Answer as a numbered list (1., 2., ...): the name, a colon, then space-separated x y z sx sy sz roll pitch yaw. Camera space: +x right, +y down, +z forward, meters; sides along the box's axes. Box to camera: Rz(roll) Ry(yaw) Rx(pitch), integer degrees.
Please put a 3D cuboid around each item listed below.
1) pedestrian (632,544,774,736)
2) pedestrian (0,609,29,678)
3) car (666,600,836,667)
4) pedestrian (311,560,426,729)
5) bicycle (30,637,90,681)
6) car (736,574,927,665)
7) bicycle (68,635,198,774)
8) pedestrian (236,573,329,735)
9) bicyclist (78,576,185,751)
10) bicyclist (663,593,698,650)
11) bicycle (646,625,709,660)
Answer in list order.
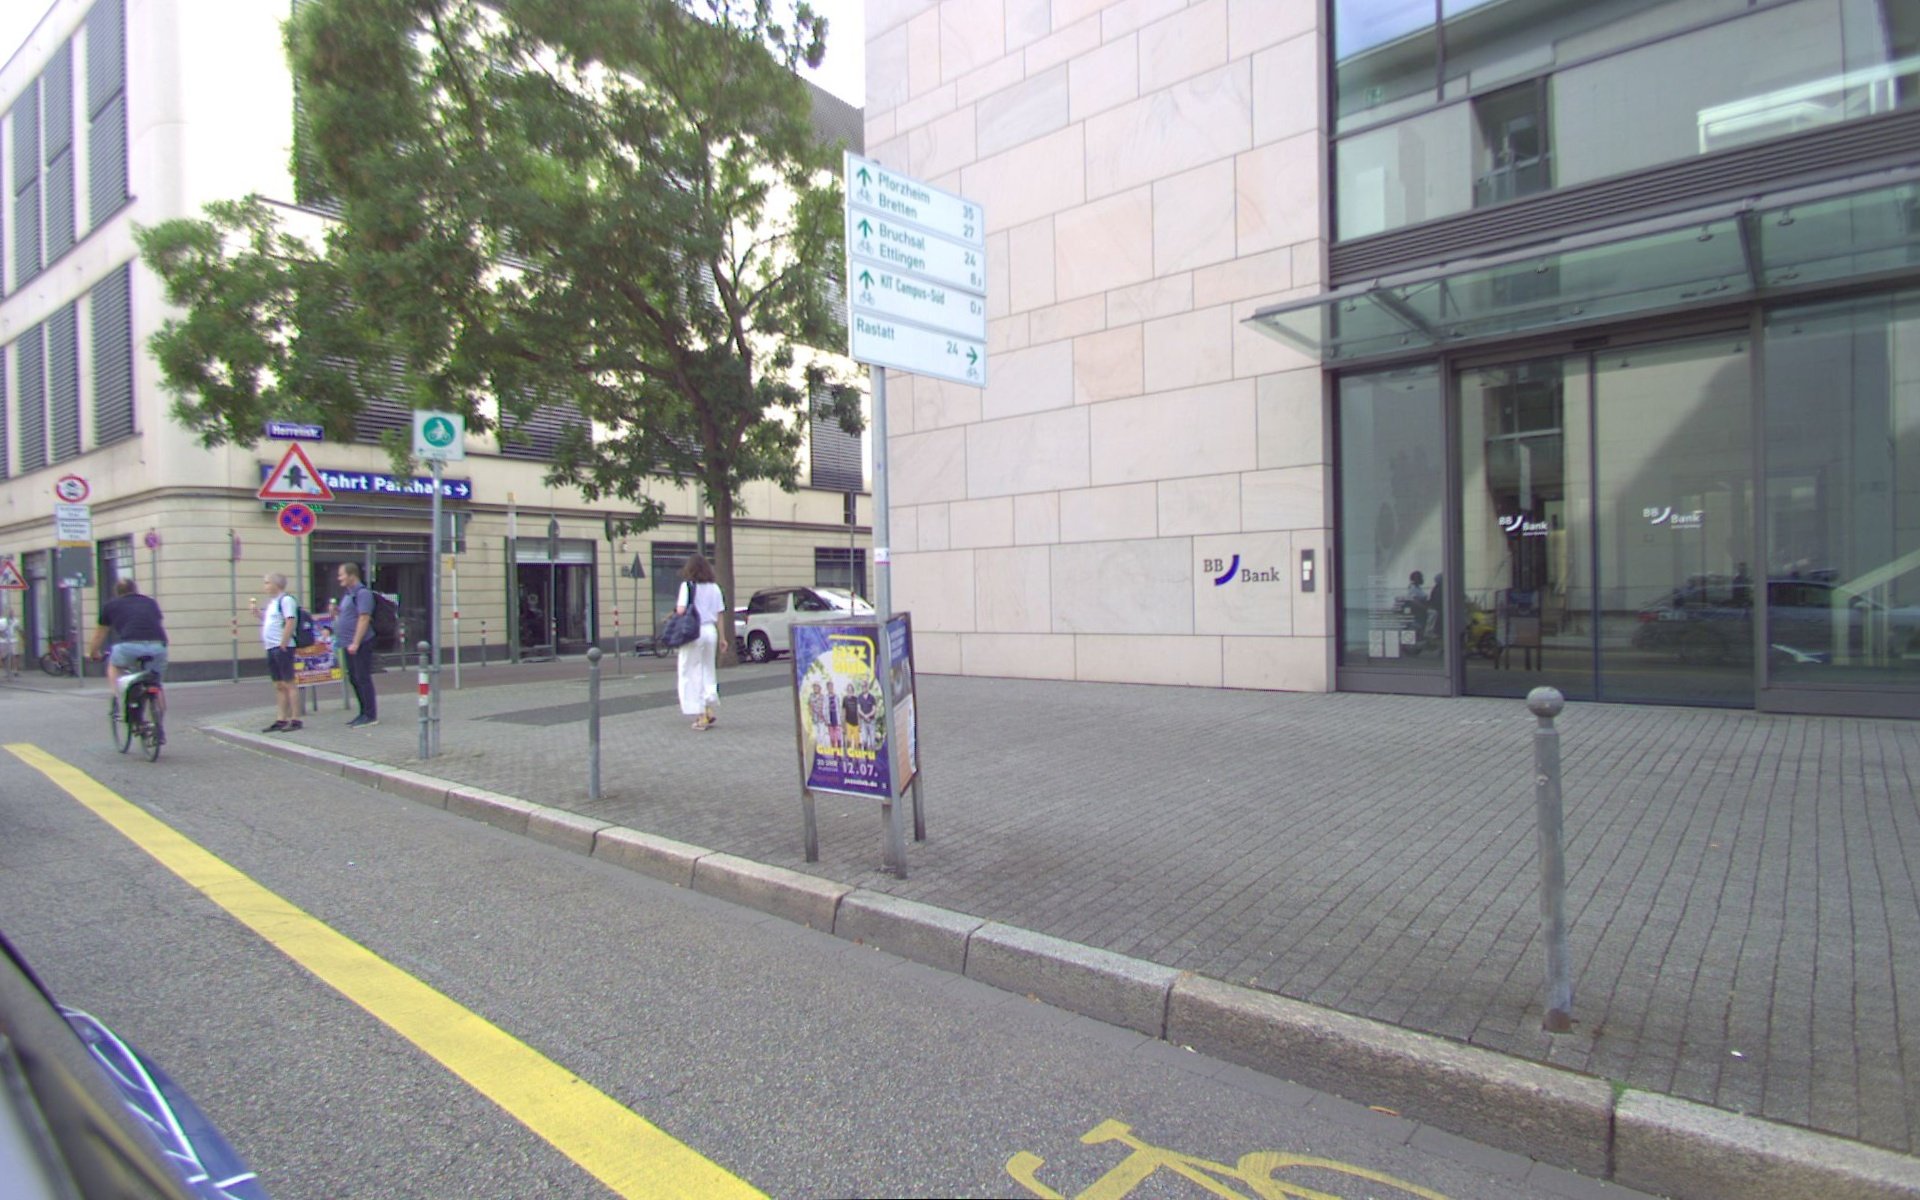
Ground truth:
1. pedestrian: -2.486 0.349 9.816 0.909 1.721 0.868 -1 4 40
2. pedestrian: -25.729 1.172 27.192 1.061 1.778 0.880 0 4 44
3. car: -5.525 0.837 27.187 1.813 1.593 4.310 -1 0 38
4. pedestrian: -6.741 0.486 11.553 0.753 1.827 0.738 -2 3 29
5. bicycle: -23.412 1.502 26.309 2.539 1.052 0.684 -1 0 37
6. car: -2.896 0.466 22.482 3.957 1.706 1.876 -5 -3 37
7. bicycle: -8.348 0.992 10.186 1.952 1.250 0.640 -1 -2 41
8. pedestrian: -7.766 0.600 11.601 0.651 1.778 0.637 -2 0 29
9. bicyclist: -8.345 0.618 10.191 0.939 1.666 0.636 -1 -3 41
10. bicyclist: -8.178 0.632 29.609 0.622 1.631 0.636 -2 1 37
11. bicycle: -8.222 1.238 29.485 0.601 0.840 1.704 -4 1 37
